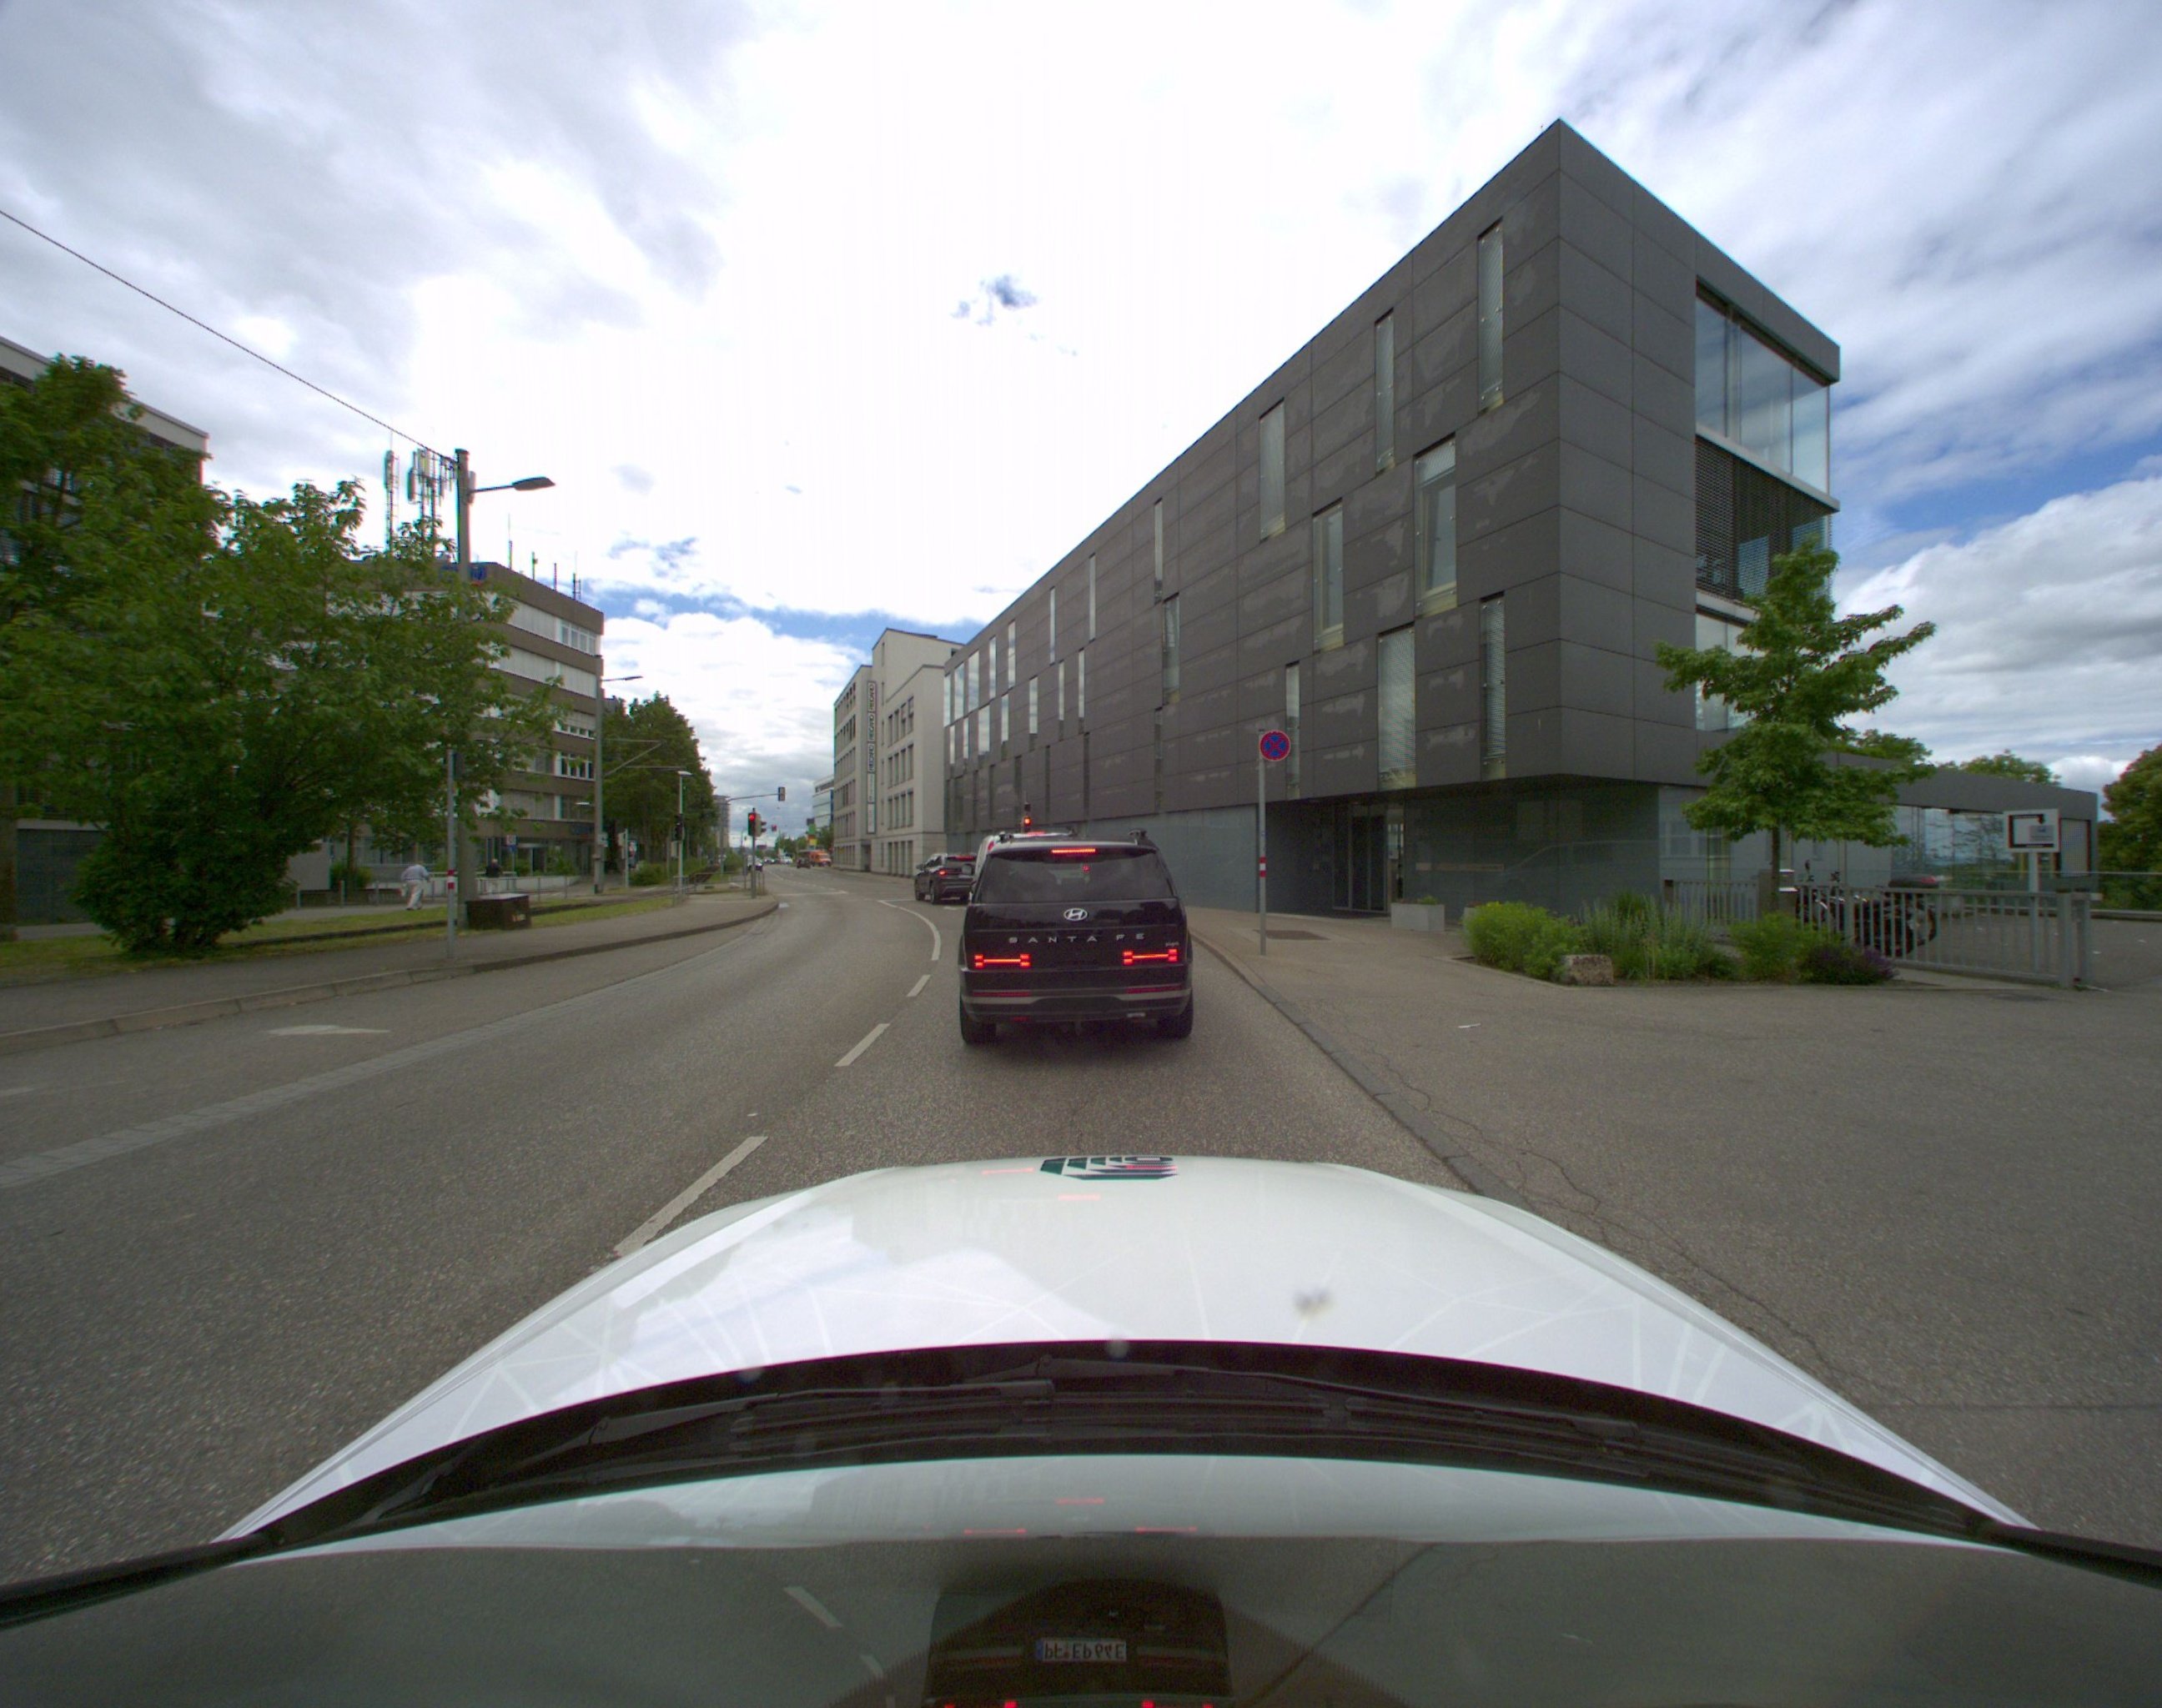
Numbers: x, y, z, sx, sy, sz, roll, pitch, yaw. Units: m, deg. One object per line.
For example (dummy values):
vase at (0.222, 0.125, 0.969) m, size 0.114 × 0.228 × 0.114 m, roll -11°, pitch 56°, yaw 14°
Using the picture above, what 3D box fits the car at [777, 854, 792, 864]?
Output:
car at (-57.684, 0.994, 158.448) m, size 1.927 × 1.725 × 4.131 m, roll 1°, pitch 0°, yaw -30°

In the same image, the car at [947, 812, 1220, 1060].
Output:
car at (-0.014, 0.589, 7.882) m, size 1.910 × 1.725 × 4.168 m, roll 1°, pitch 0°, yaw -1°

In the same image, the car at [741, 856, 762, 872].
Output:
car at (-36.488, 1.116, 90.101) m, size 1.861 × 1.695 × 3.966 m, roll 0°, pitch 0°, yaw -26°

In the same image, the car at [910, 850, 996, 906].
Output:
car at (-4.378, 0.759, 27.226) m, size 1.856 × 1.677 × 4.342 m, roll -1°, pitch 0°, yaw -23°

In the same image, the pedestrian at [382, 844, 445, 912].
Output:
pedestrian at (-20.611, 0.723, 25.167) m, size 1.048 × 2.014 × 0.914 m, roll 2°, pitch -1°, yaw 2°

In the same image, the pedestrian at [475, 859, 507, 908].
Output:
pedestrian at (-24.933, 1.235, 34.422) m, size 0.768 × 2.014 × 0.885 m, roll 3°, pitch -1°, yaw -17°

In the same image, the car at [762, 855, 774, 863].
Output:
car at (-70.713, 1.221, 183.826) m, size 1.927 × 1.725 × 4.131 m, roll 1°, pitch 0°, yaw -30°

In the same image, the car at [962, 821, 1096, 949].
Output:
car at (-1.134, 0.481, 15.322) m, size 1.857 × 2.033 × 4.418 m, roll -1°, pitch 0°, yaw -12°

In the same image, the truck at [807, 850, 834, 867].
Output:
truck at (-45.435, 0.796, 141.770) m, size 2.592 × 2.825 × 6.915 m, roll 0°, pitch 0°, yaw -34°

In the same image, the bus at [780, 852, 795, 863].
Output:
bus at (-81.352, 0.962, 225.499) m, size 3.096 × 2.928 × 10.262 m, roll 1°, pitch 0°, yaw -24°

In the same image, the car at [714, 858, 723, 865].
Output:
car at (-94.506, 1.903, 212.278) m, size 1.927 × 1.725 × 4.131 m, roll 1°, pitch 0°, yaw -30°

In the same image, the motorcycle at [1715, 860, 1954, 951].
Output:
motorcycle at (11.805, 0.741, 12.924) m, size 0.850 × 1.260 × 2.672 m, roll 0°, pitch 0°, yaw -25°

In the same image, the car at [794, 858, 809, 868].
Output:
car at (-41.364, 1.308, 120.755) m, size 1.903 × 1.486 × 3.978 m, roll 0°, pitch 0°, yaw -16°

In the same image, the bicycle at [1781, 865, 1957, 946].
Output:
bicycle at (13.416, 0.823, 13.955) m, size 0.617 × 1.260 × 2.085 m, roll 0°, pitch 0°, yaw -25°
